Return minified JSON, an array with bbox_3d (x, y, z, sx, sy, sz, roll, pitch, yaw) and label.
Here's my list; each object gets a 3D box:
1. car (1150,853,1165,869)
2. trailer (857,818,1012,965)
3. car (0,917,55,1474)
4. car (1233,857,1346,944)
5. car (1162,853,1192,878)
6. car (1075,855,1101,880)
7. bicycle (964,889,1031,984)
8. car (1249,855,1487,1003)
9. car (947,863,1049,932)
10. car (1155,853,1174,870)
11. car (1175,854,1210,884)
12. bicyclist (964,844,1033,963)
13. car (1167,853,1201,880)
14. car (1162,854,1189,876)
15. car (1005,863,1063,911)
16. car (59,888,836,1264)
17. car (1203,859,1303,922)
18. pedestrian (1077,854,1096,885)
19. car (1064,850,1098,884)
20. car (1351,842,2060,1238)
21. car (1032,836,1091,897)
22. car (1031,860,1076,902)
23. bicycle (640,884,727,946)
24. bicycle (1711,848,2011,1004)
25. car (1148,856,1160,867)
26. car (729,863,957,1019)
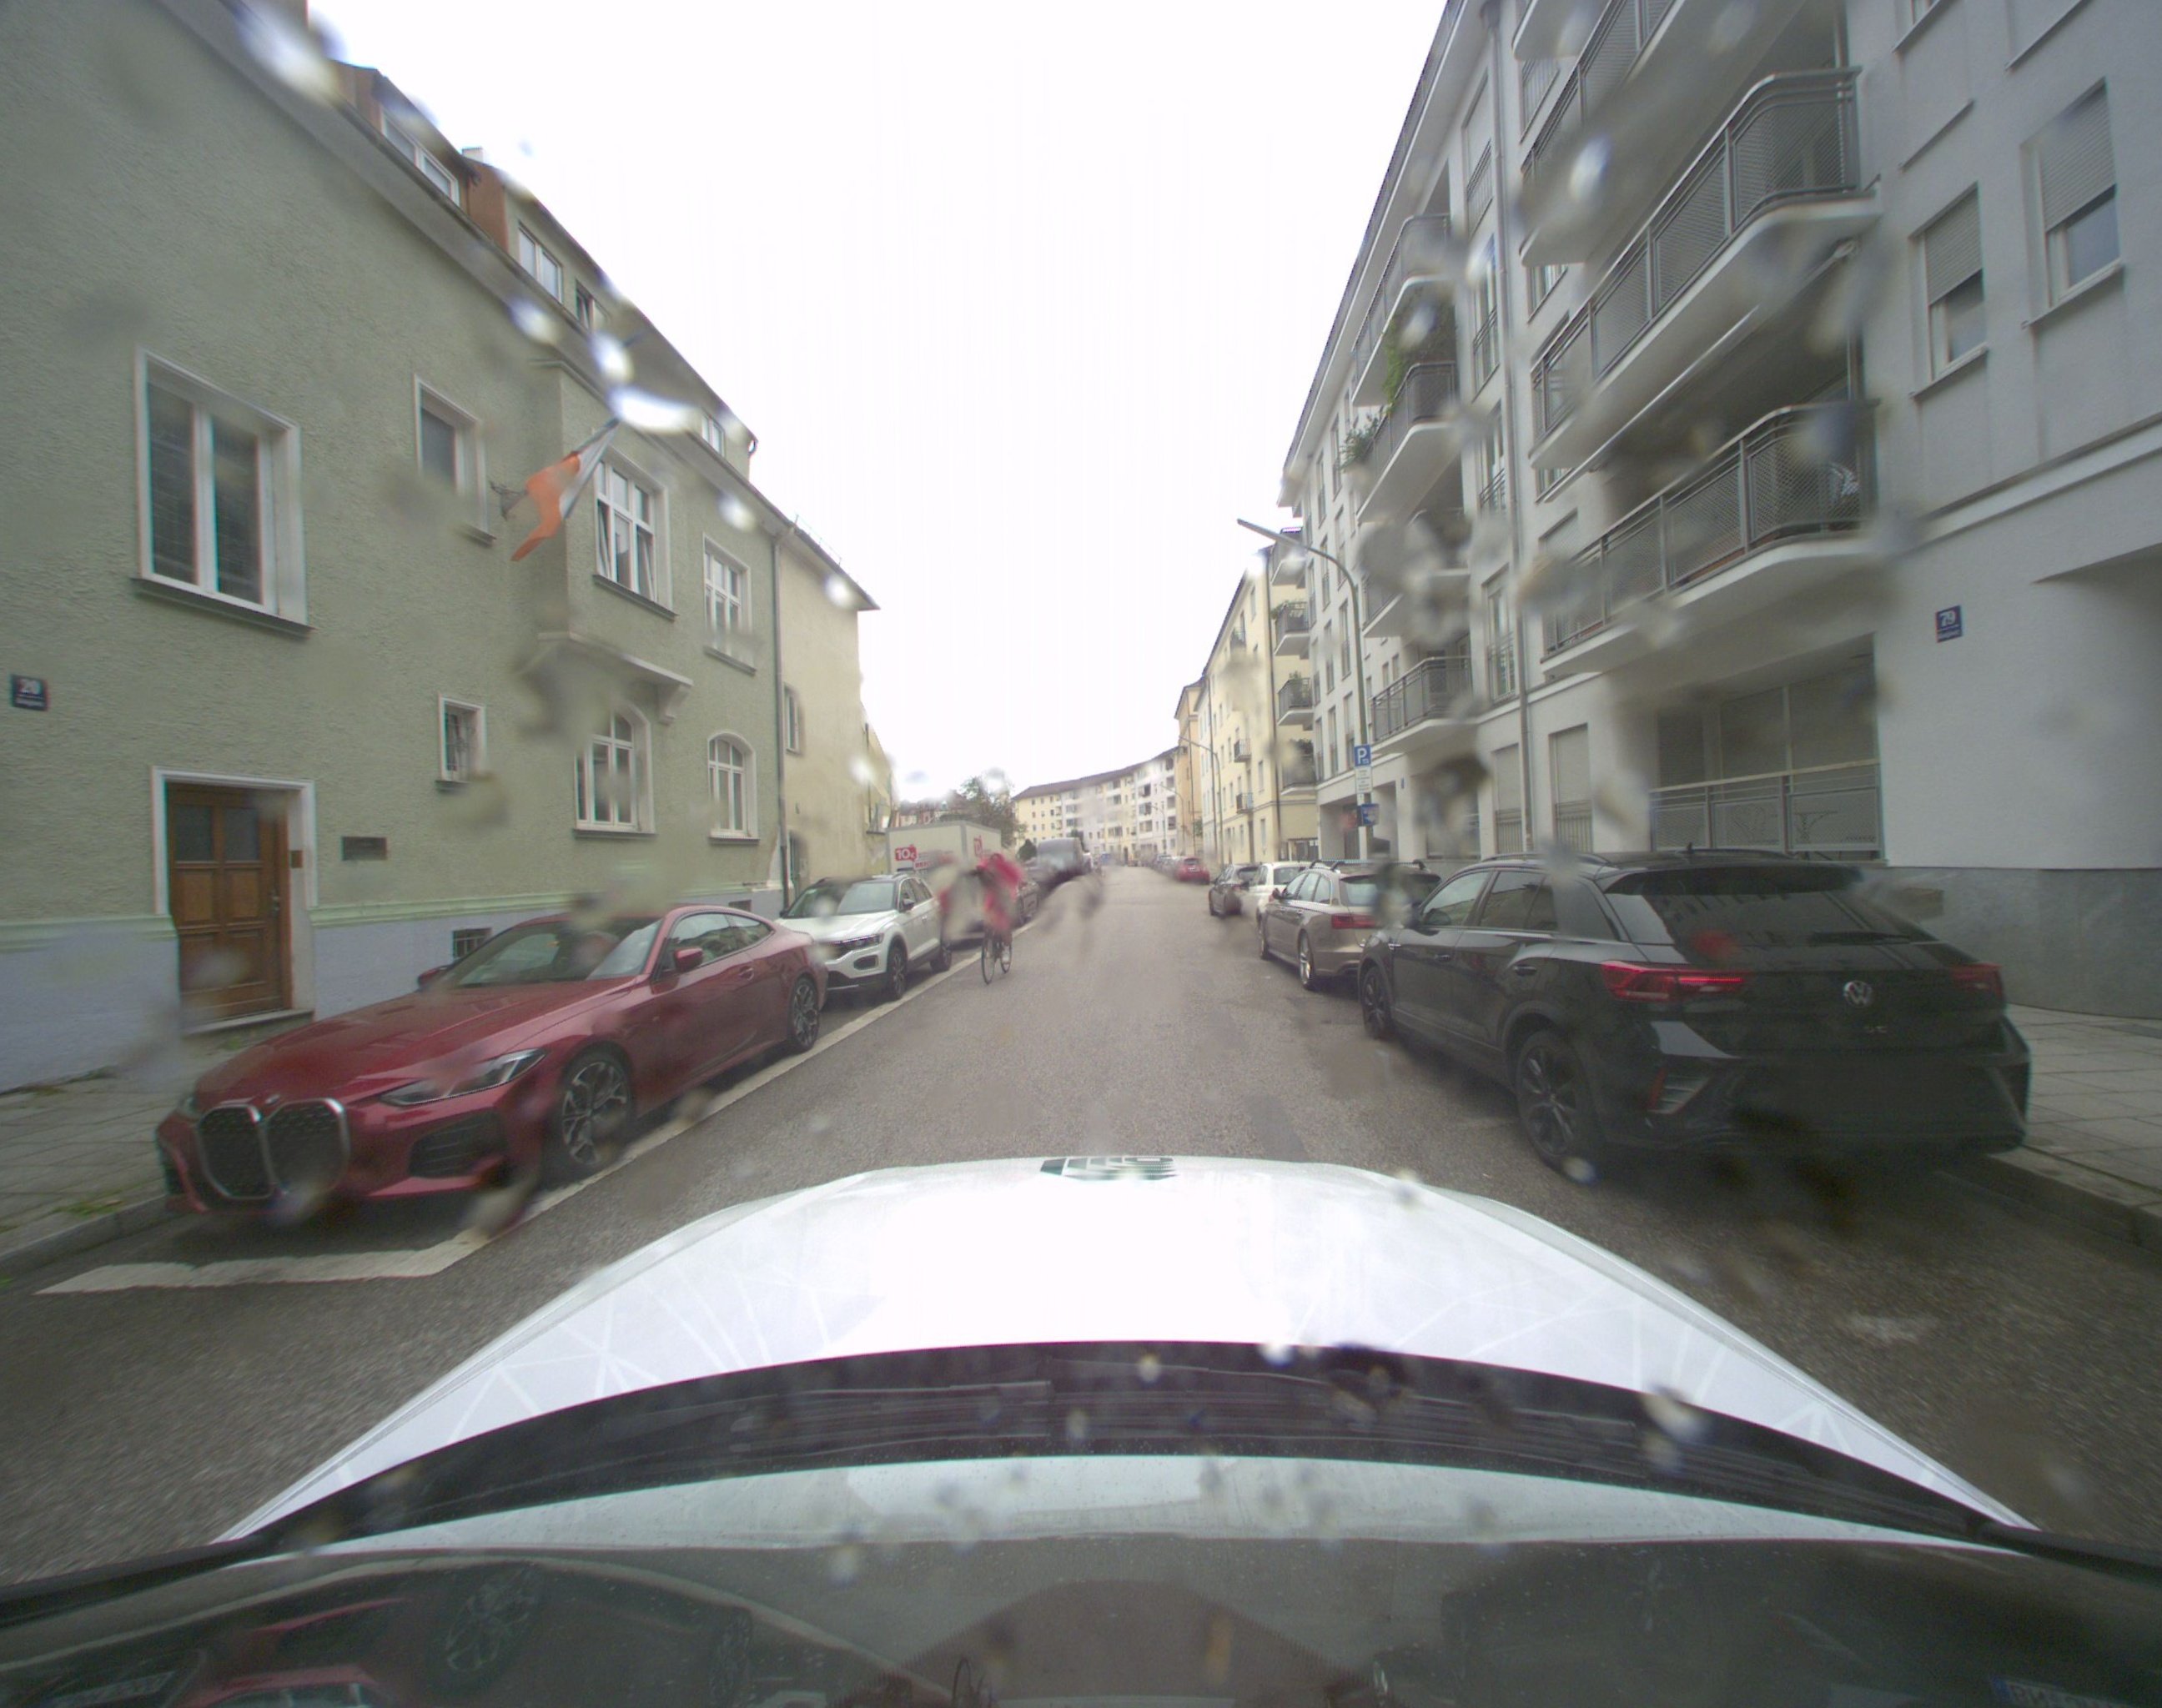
[{"bbox_3d":[8.419,0.756,89.836,1.468,1.641,4.003,-1,0,2],"label":"car"},{"bbox_3d":[-2.752,0.655,16.404,1.700,2.461,4.394,-4,0,7],"label":"trailer"},{"bbox_3d":[-3.704,0.948,0.637,1.467,1.466,3.315,-4,0,2],"label":"car"},{"bbox_3d":[4.029,0.838,16.211,1.513,1.530,3.529,-1,0,3],"label":"car"},{"bbox_3d":[6.448,0.731,55.073,1.686,1.491,4.285,-3,0,2],"label":"car"},{"bbox_3d":[0.569,1.009,62.025,1.695,1.691,4.030,-4,0,3],"label":"car"},{"bbox_3d":[-1.142,1.107,11.452,0.501,1.128,1.776,-3,0,6],"label":"bicycle"},{"bbox_3d":[3.482,0.795,10.830,1.727,1.530,4.624,0,0,2],"label":"car"},{"bbox_3d":[-2.131,1.094,22.243,1.757,1.538,4.549,-4,-1,6],"label":"car"},{"bbox_3d":[8.209,0.741,79.911,1.584,1.582,4.301,-1,0,2],"label":"car"},{"bbox_3d":[6.071,0.806,44.720,1.588,1.509,3.805,-2,0,4],"label":"car"},{"bbox_3d":[-1.138,0.666,11.411,0.690,1.561,0.968,-3,-1,6],"label":"bicyclist"},{"bbox_3d":[6.224,0.746,49.574,1.686,1.491,4.345,-3,-1,2],"label":"car"},{"bbox_3d":[6.978,0.780,60.382,1.593,1.491,3.801,-2,0,2],"label":"car"},{"bbox_3d":[-1.595,1.111,28.754,1.694,1.446,3.826,-2,0,1],"label":"car"},{"bbox_3d":[-3.451,1.067,5.733,1.853,1.412,4.336,-4,-1,3],"label":"car"},{"bbox_3d":[4.264,0.866,20.797,1.757,1.408,4.079,-2,-1,1],"label":"car"},{"bbox_3d":[0.328,0.894,46.646,0.801,1.728,0.664,1,-3,-43],"label":"pedestrian"},{"bbox_3d":[0.038,0.801,51.583,1.875,1.931,4.603,-4,0,2],"label":"car"},{"bbox_3d":[3.091,0.729,5.179,1.597,1.530,3.986,0,0,2],"label":"car"},{"bbox_3d":[-0.836,0.529,38.747,2.078,2.636,5.385,-2,0,5],"label":"car"},{"bbox_3d":[-1.104,1.088,33.650,1.580,1.538,3.545,-3,0,1],"label":"car"},{"bbox_3d":[-6.794,1.016,14.027,0.520,0.906,1.929,1,0,1],"label":"bicycle"},{"bbox_3d":[6.745,0.551,7.247,0.625,1.160,2.128,-3,0,2],"label":"bicycle"},{"bbox_3d":[9.077,0.967,101.762,1.267,1.299,2.799,-2,0,2],"label":"car"},{"bbox_3d":[-2.978,0.998,11.113,1.680,1.603,3.924,-4,0,3],"label":"car"}]
